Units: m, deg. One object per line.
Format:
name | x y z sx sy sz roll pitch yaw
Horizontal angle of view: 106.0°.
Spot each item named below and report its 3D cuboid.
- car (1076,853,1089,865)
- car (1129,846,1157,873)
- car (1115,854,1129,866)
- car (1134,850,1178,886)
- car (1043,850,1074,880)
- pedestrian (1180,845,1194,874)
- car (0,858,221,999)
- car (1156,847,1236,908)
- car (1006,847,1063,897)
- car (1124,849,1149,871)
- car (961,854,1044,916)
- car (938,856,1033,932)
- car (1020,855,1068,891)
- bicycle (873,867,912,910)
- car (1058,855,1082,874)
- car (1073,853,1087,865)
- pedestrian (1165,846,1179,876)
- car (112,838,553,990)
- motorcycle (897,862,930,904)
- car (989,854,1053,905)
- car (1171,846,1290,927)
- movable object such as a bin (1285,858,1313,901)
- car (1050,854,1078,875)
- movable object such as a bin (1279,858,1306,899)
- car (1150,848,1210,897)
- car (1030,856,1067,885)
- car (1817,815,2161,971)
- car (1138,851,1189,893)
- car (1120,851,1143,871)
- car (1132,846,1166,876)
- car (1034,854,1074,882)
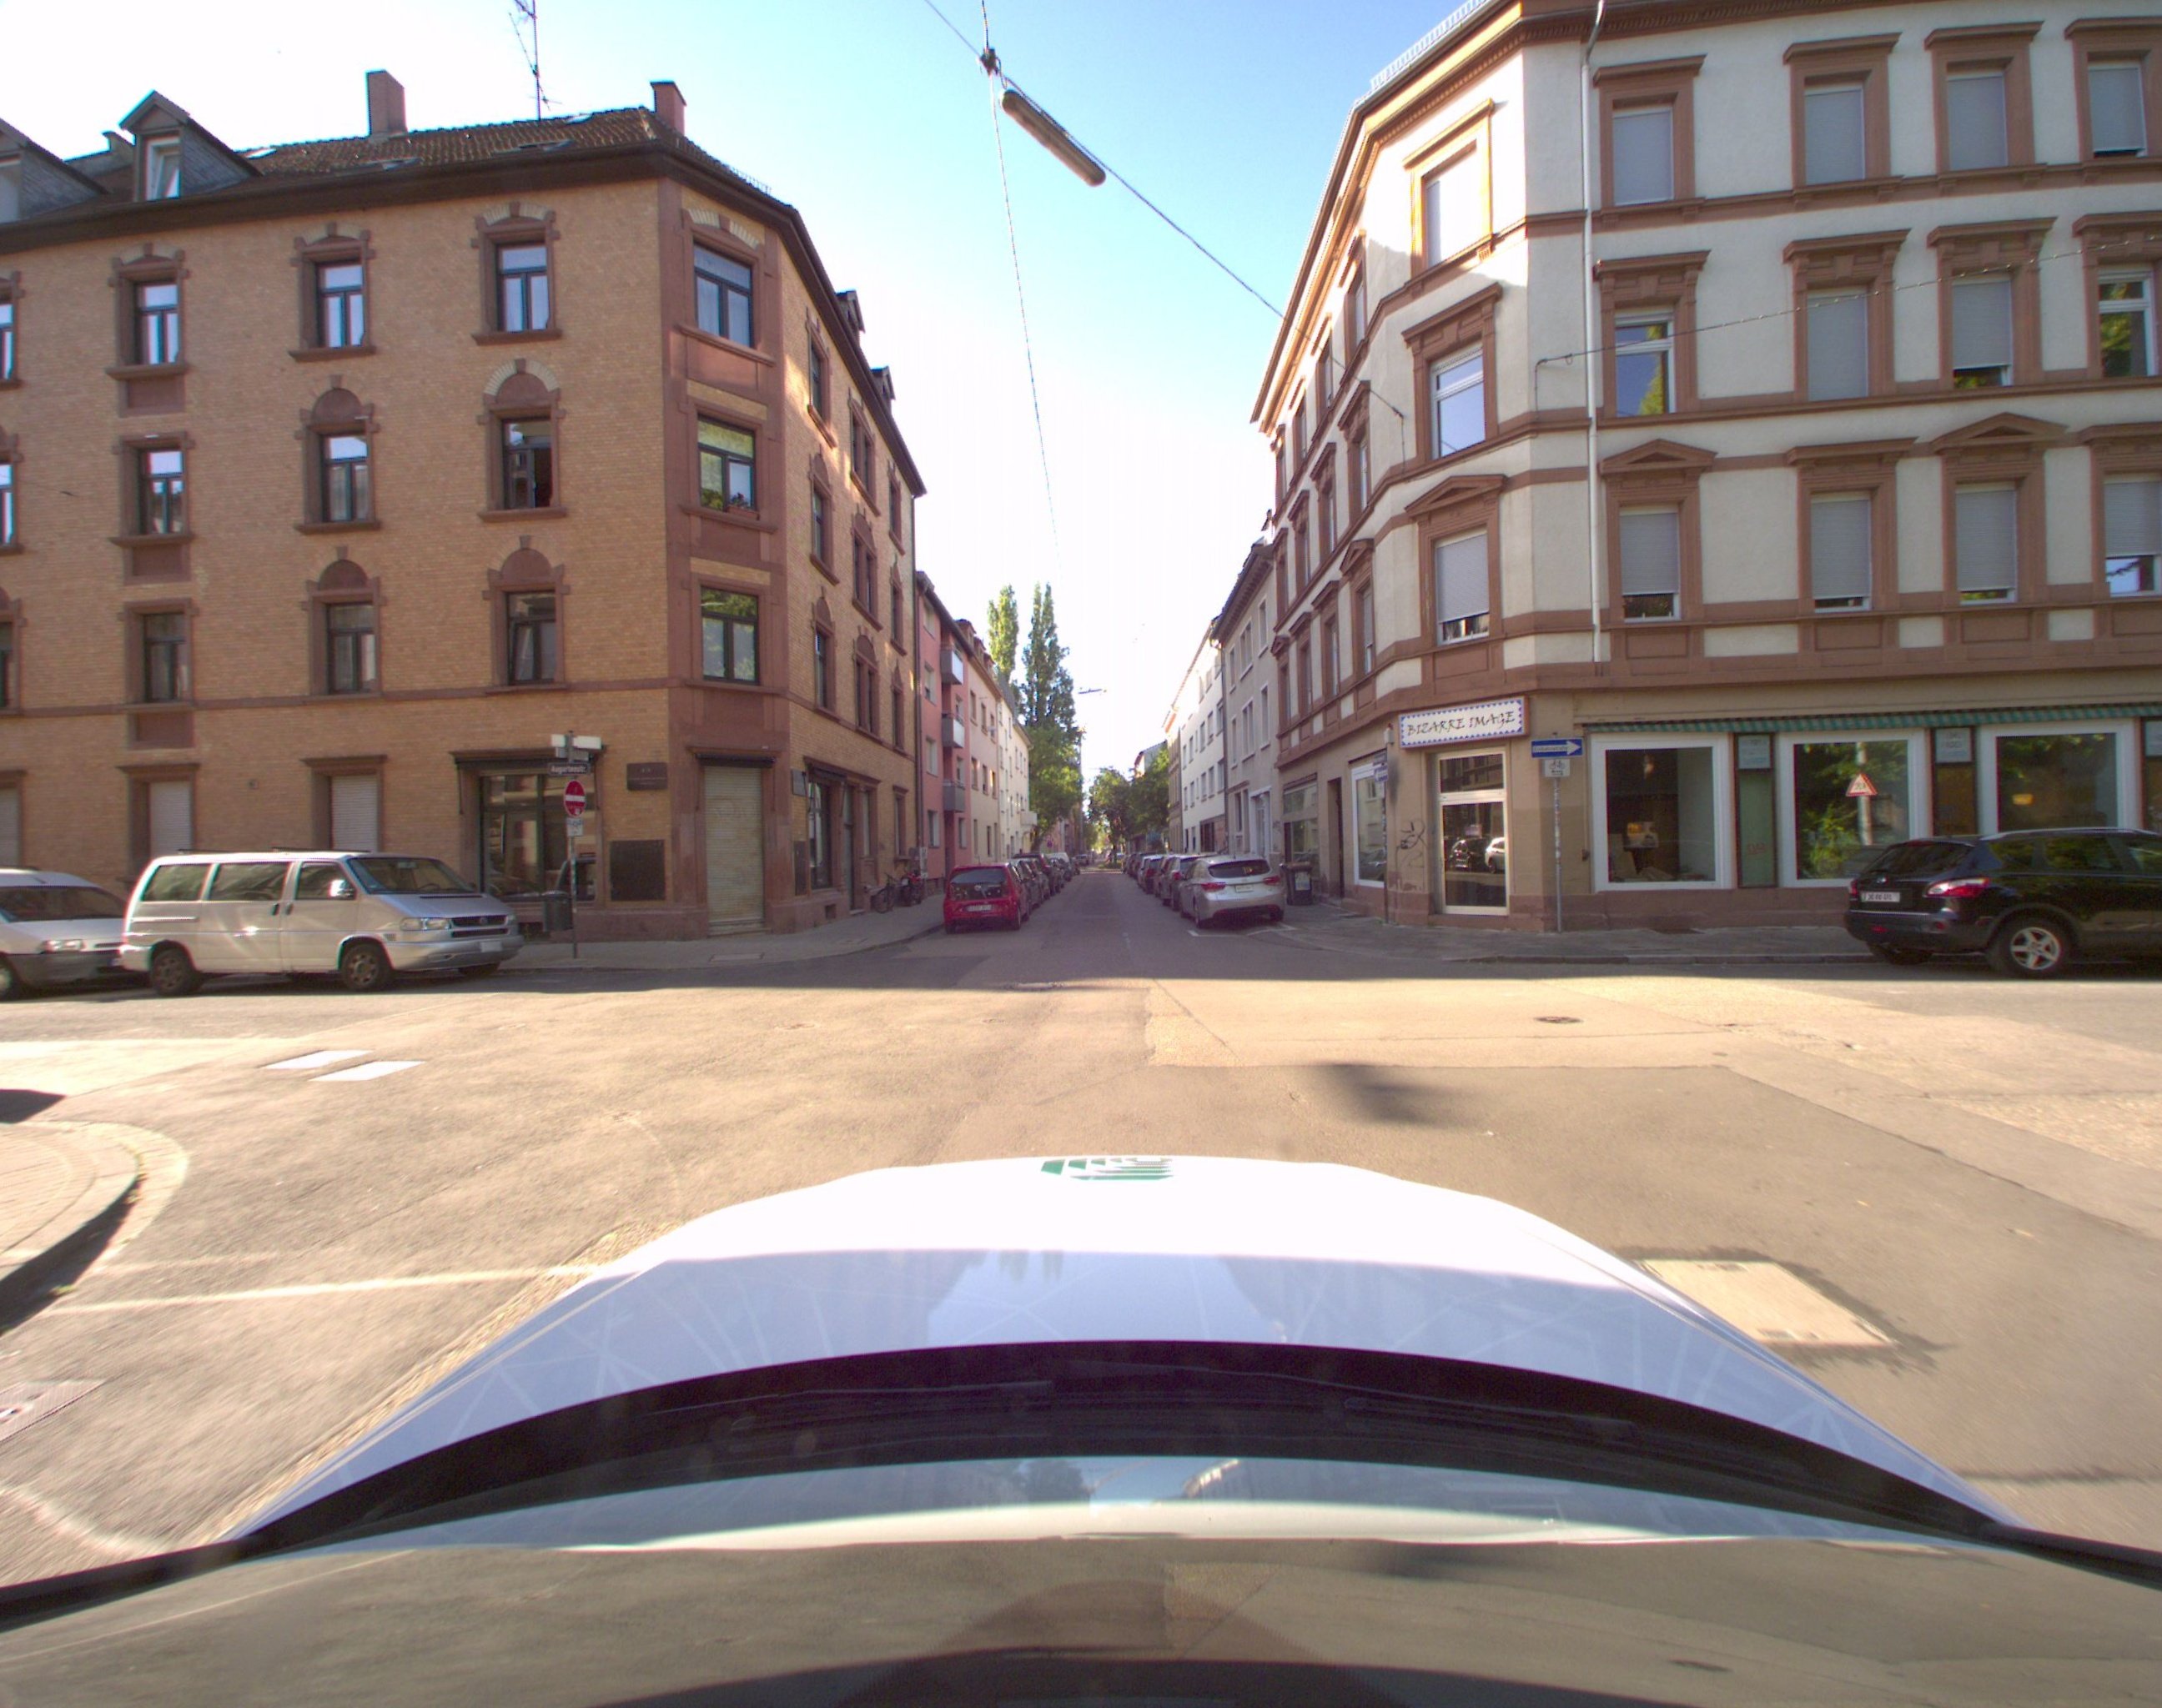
car | 0.176 0.628 112.545 1.670 1.487 4.095 -3 0 1
car | 4.135 0.383 54.998 1.669 1.681 4.097 -3 -1 2
car | 5.451 0.820 108.351 1.670 1.487 3.638 -3 0 1
car | 3.468 0.625 38.155 1.670 1.506 3.938 -3 0 1
car | -1.443 0.679 53.020 1.759 1.785 4.039 -3 0 1
pedestrian | 6.134 0.319 47.077 0.683 1.660 0.717 -2 0 1
car | -15.966 1.101 12.247 4.325 1.894 1.944 -2 -3 7
car | 3.232 0.616 23.640 1.738 1.506 4.021 -3 0 1
car | -1.850 0.683 33.808 1.736 1.811 4.676 -3 0 3
car | 4.371 0.459 64.580 1.670 1.561 3.796 -3 0 1
car | -2.165 0.819 23.536 1.688 1.521 4.099 -3 0 3
car | -2.106 0.843 18.869 1.622 1.481 3.601 -3 0 1
car | -1.713 0.859 39.065 1.736 1.506 4.350 -3 0 3
bicycle | -5.200 0.937 22.562 0.531 1.074 1.892 3 0 2
car | -0.871 0.857 66.231 1.664 1.361 4.050 -3 0 1
car | -0.141 0.627 107.336 1.670 1.487 4.095 -3 0 1
pedestrian | 5.304 0.405 47.245 0.683 1.660 0.717 -2 0 1
car | -10.530 0.835 11.686 4.687 1.894 2.030 -2 -2 6
motorcycle | -5.117 0.876 24.981 0.531 1.206 1.909 -1 0 2
car | -2.003 0.828 28.357 1.649 1.521 3.947 -3 0 3
car | 3.199 0.637 18.283 1.739 1.506 4.355 -3 0 -1
movable object such as a bin | 5.533 0.645 20.676 0.512 1.039 0.620 -3 0 2
car | -1.258 0.766 61.897 1.662 1.469 3.825 -3 0 4
movable object such as a bin | 5.554 0.631 21.430 0.512 1.039 0.594 -3 0 2
car | 3.396 0.609 28.699 1.593 1.506 4.185 -3 0 1
car | -1.722 0.861 44.096 1.667 1.388 4.183 -3 0 1
car | 11.262 0.423 9.300 3.897 1.608 1.765 -1 -2 8
car | 3.336 0.690 33.593 1.670 1.506 3.938 -3 0 1
car | 4.304 0.570 69.487 1.670 1.487 4.095 -3 0 1
car | 4.129 0.430 49.952 1.670 1.627 4.251 -5 0 1
car | -1.563 0.805 48.489 1.665 1.486 3.999 -3 0 7
